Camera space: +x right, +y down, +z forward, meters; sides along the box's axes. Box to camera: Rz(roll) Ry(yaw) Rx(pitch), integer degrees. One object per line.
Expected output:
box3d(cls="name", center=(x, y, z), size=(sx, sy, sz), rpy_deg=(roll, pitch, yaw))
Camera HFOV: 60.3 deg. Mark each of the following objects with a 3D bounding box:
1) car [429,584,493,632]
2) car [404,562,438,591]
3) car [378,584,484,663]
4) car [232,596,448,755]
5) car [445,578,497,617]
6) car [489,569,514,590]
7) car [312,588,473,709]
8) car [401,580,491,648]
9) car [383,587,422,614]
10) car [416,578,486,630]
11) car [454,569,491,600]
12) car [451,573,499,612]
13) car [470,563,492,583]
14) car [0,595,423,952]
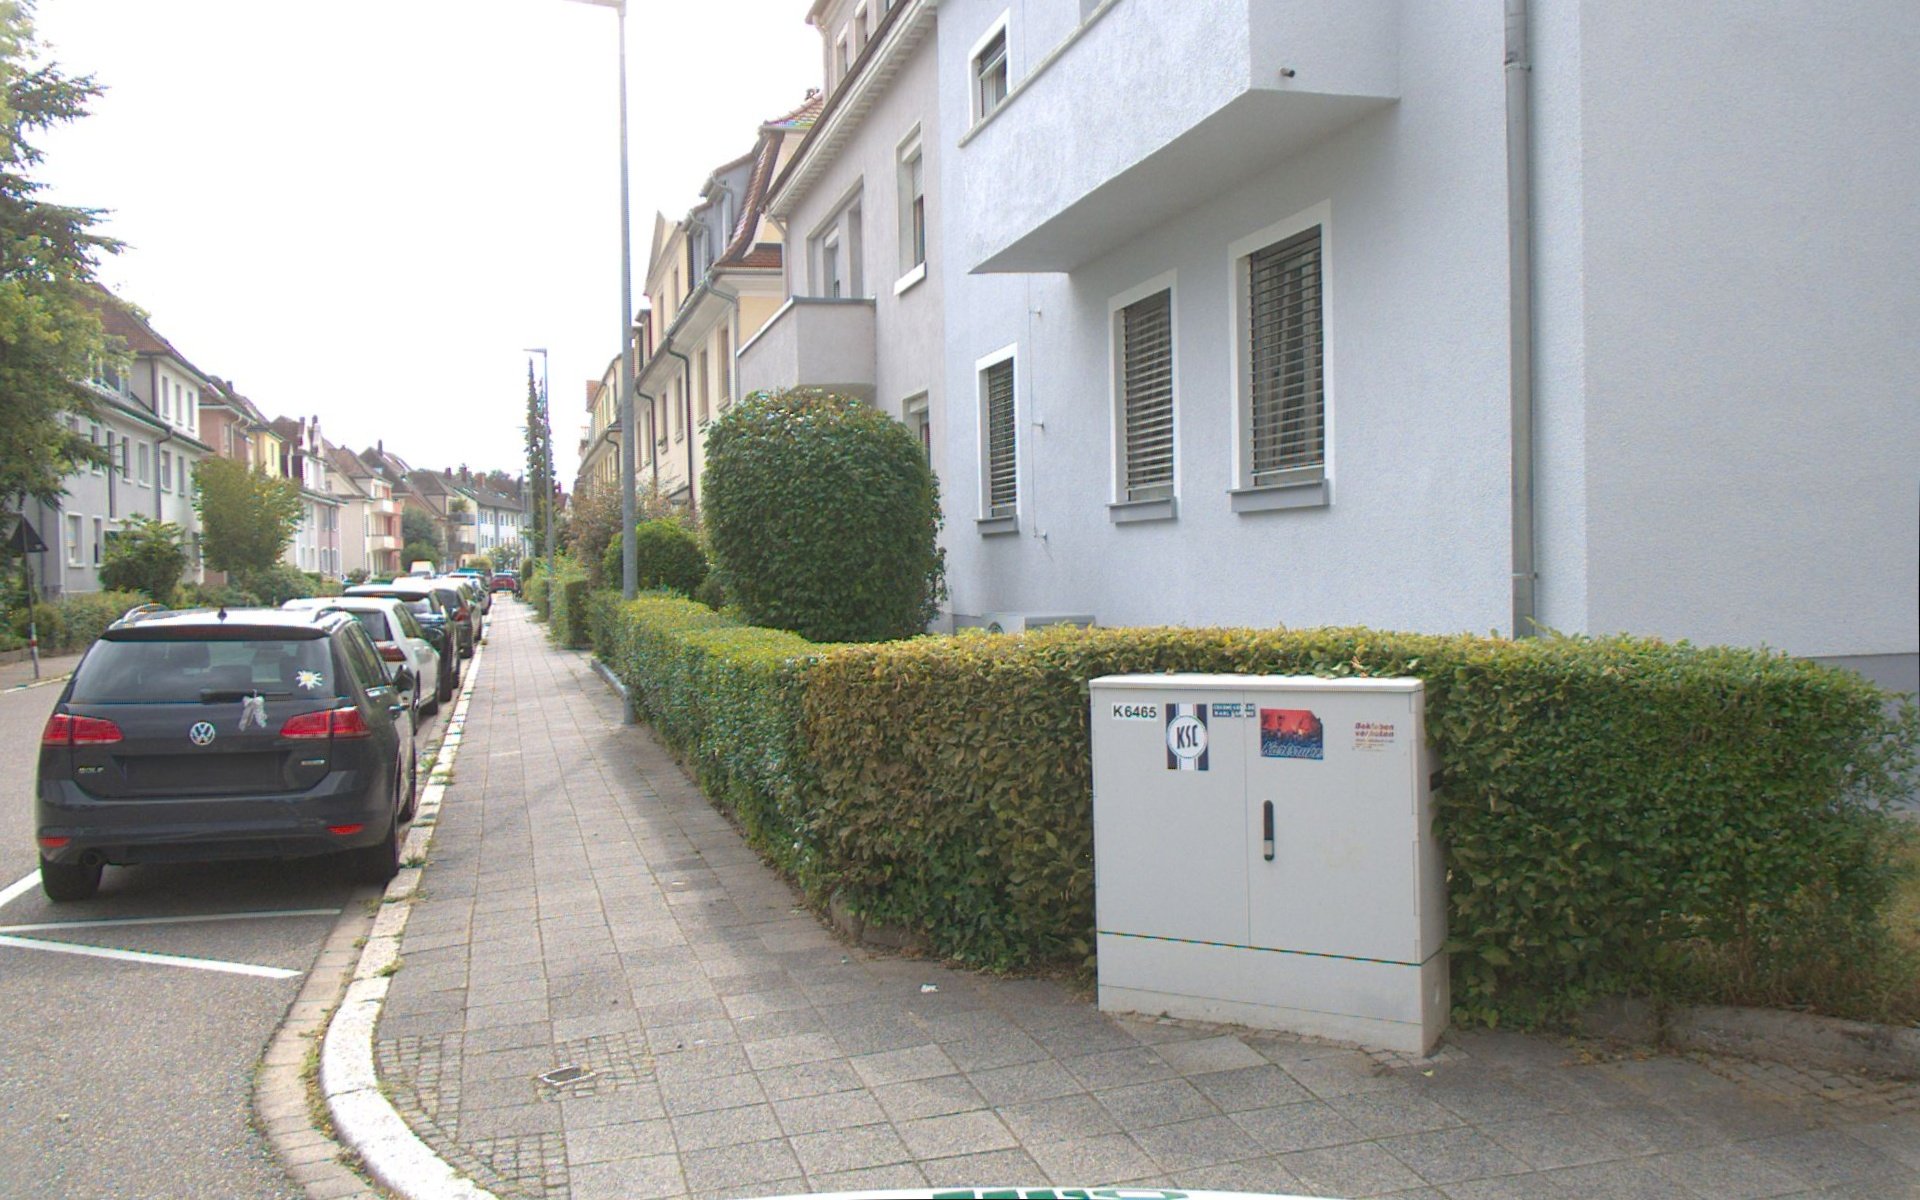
box3d(cls="car", center=(-16.954, 0.243, 56.326), size=(1.823, 1.497, 4.160), rpy_deg=(-2, 1, -14))
box3d(cls="car", center=(-39.615, -1.702, 121.673), size=(1.960, 2.048, 3.986), rpy_deg=(-2, 1, -13))
box3d(cls="car", center=(-11.148, 0.440, 35.085), size=(1.823, 1.497, 4.160), rpy_deg=(-2, 1, -14))
box3d(cls="car", center=(-6.988, 0.759, 19.030), size=(1.823, 1.497, 4.160), rpy_deg=(-2, 1, -14))
box3d(cls="car", center=(-20.146, -0.140, 68.230), size=(1.823, 1.497, 4.160), rpy_deg=(-2, 1, -14))
box3d(cls="car", center=(-37.495, -1.683, 135.330), size=(1.823, 1.605, 4.160), rpy_deg=(-2, 1, -14))
box3d(cls="car", center=(-8.102, 0.625, 23.935), size=(1.823, 1.497, 4.160), rpy_deg=(-2, 1, -14))
box3d(cls="car", center=(-12.516, 0.304, 40.487), size=(1.823, 1.497, 4.160), rpy_deg=(-2, 1, -14))
box3d(cls="car", center=(-37.085, 0.041, 110.007), size=(1.959, 1.668, 3.988), rpy_deg=(-2, 1, -12))
box3d(cls="car", center=(-15.938, 0.101, 51.960), size=(1.823, 1.497, 4.160), rpy_deg=(-2, 1, -14))
box3d(cls="car", center=(-27.002, -0.873, 91.661), size=(1.823, 1.605, 4.158), rpy_deg=(-2, 1, -15))
box3d(cls="car", center=(-21.568, -0.359, 73.666), size=(1.823, 1.605, 4.160), rpy_deg=(-2, 1, -14))
box3d(cls="car", center=(-52.315, -2.986, 180.789), size=(1.959, 2.160, 3.988), rpy_deg=(-2, 1, -12))
box3d(cls="car", center=(-4.143, 0.771, 9.669), size=(1.826, 1.497, 4.153), rpy_deg=(-2, 1, -19))
